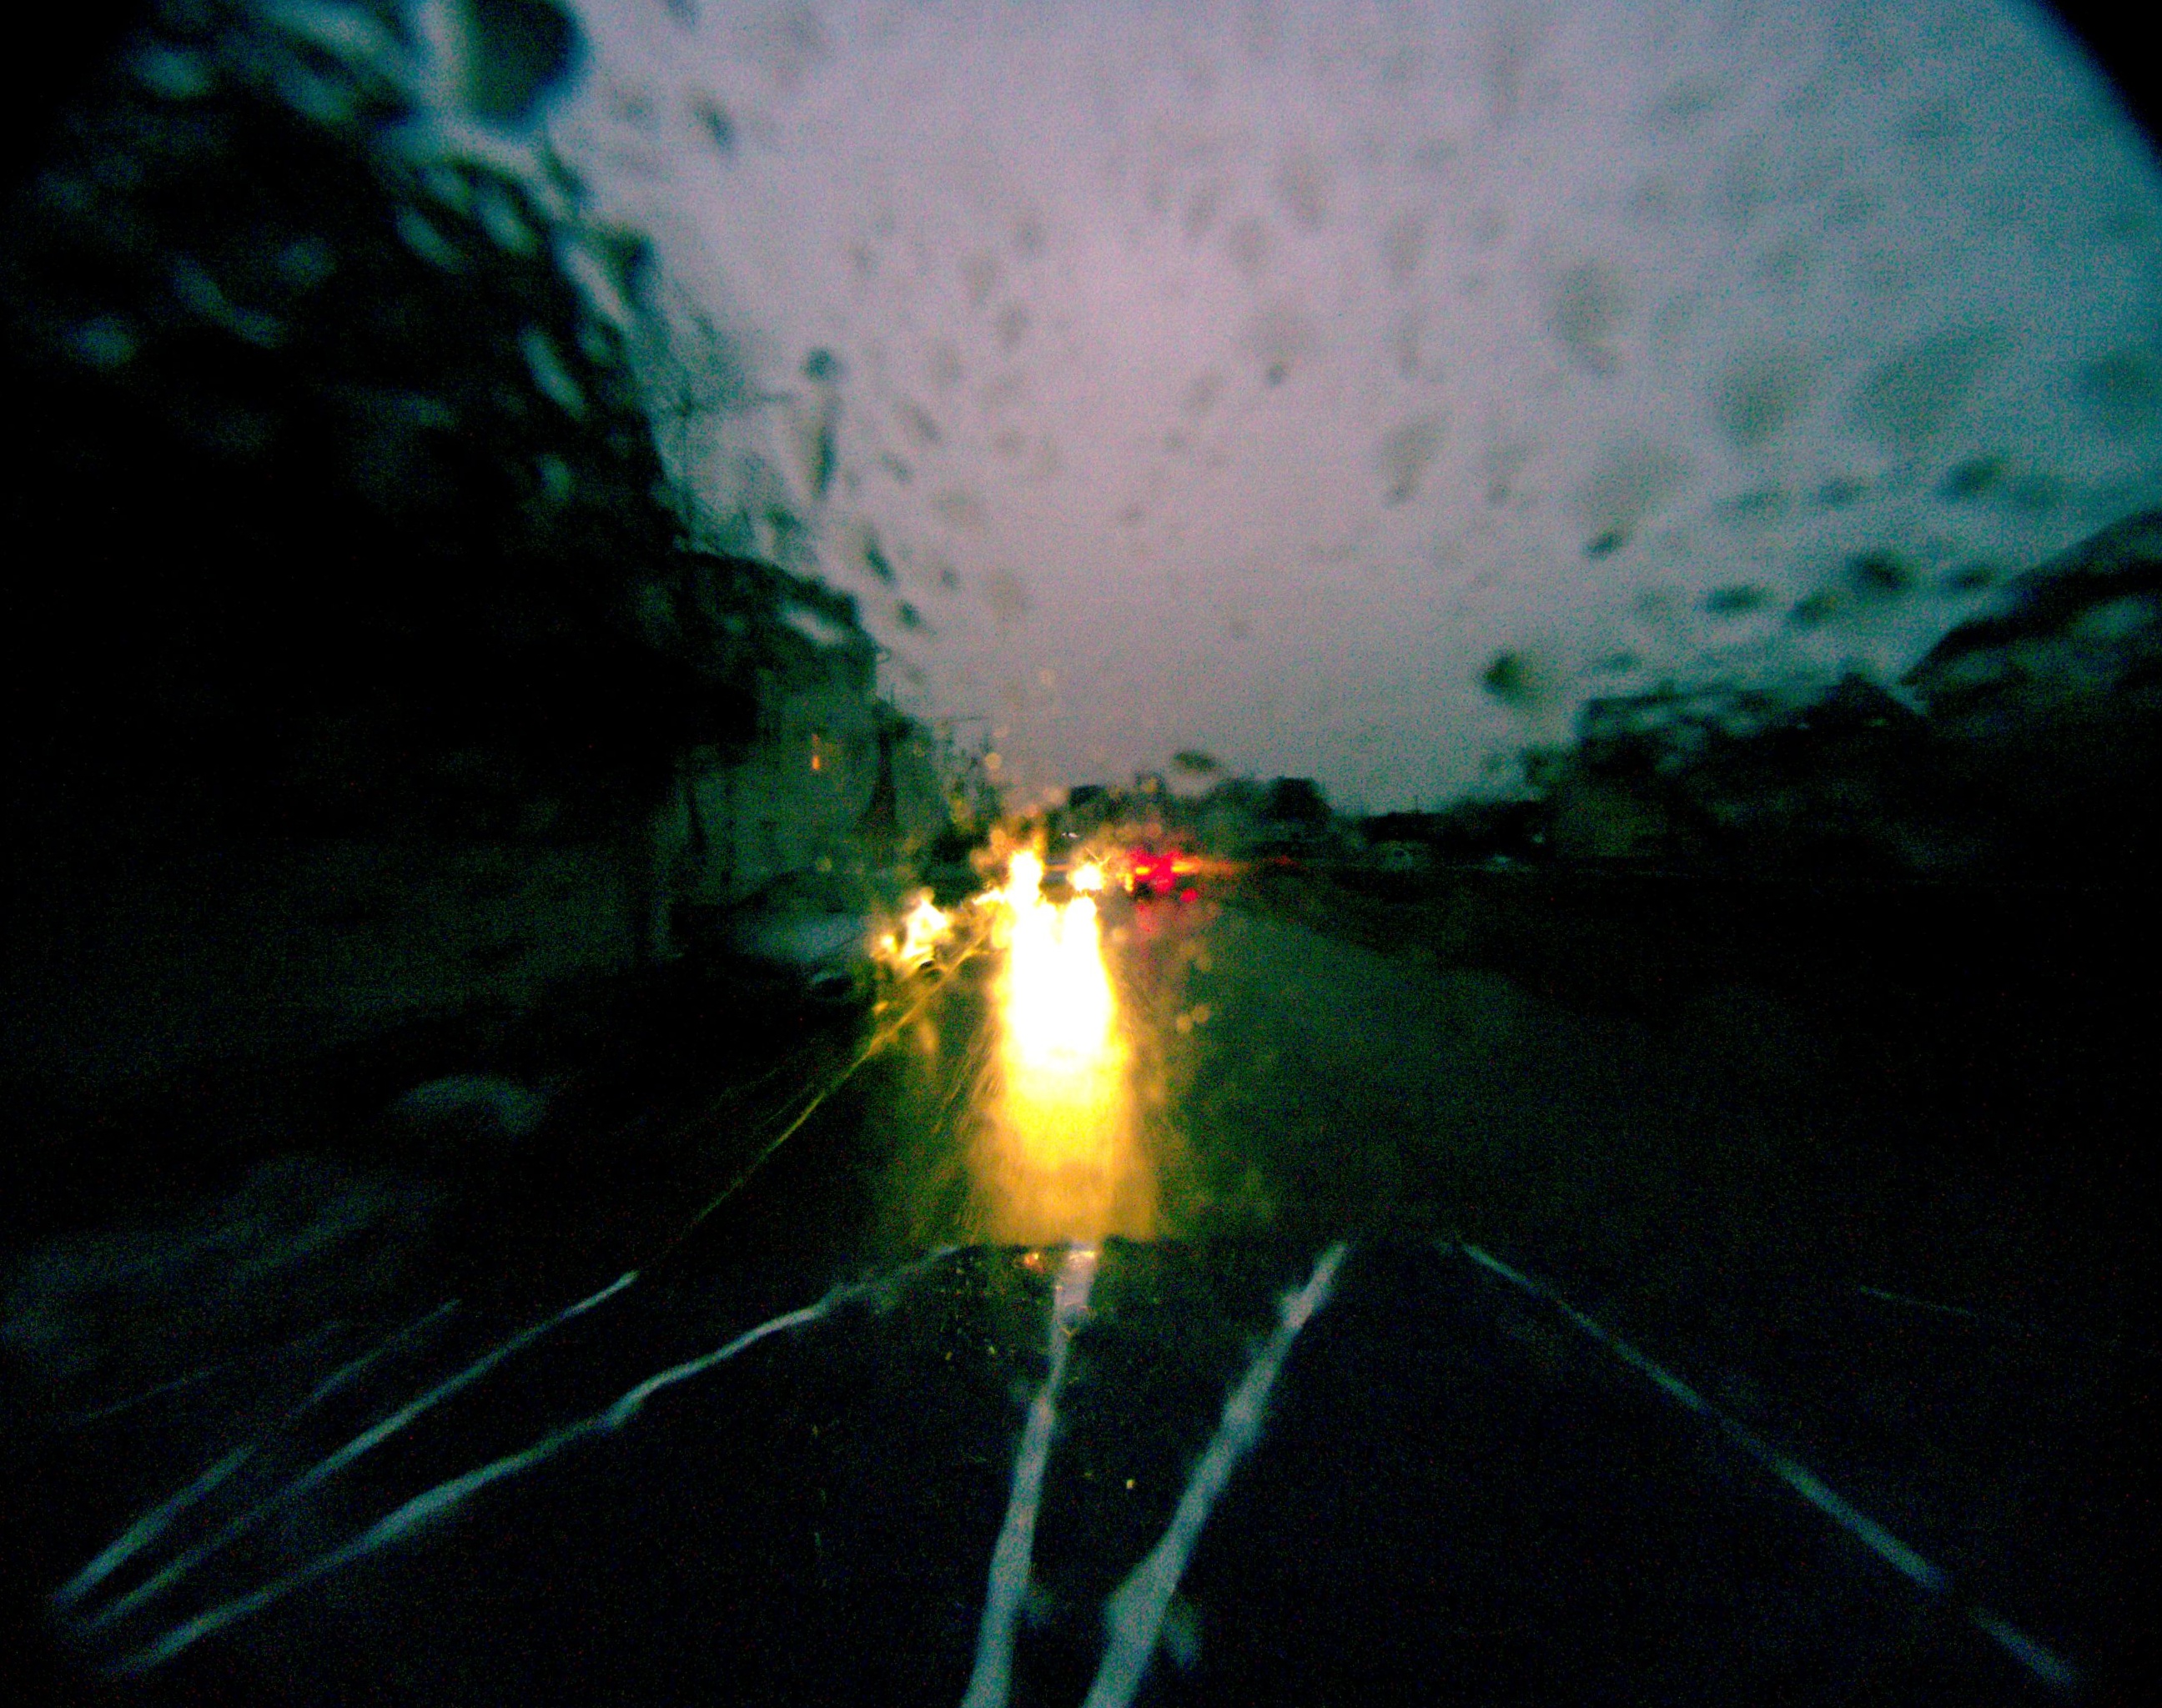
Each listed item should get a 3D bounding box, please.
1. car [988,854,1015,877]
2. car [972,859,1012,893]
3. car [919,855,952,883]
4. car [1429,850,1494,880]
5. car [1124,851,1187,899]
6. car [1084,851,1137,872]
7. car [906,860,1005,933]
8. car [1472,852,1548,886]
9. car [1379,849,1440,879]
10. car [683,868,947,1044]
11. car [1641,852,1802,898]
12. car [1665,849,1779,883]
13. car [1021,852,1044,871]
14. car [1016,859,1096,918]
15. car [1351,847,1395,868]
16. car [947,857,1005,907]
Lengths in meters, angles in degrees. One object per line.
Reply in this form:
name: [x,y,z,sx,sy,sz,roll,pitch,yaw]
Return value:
car: [-5.687,0.796,54.439,1.812,1.555,4.302,0,0,-4]
car: [-4.022,0.944,34.644,1.708,1.443,4.189,0,0,-6]
car: [-8.606,0.844,44.751,1.814,1.543,4.299,0,0,-12]
car: [22.505,0.624,45.134,1.901,1.509,3.999,-3,1,2]
car: [2.581,0.698,27.092,1.736,1.527,3.780,-3,0,-1]
car: [2.609,0.633,68.298,4.347,1.611,1.998,-3,1,-10]
car: [-3.070,0.978,19.621,1.962,1.523,5.007,-3,0,-4]
car: [22.634,0.756,40.258,1.821,1.615,3.985,-3,0,1]
car: [22.726,0.635,52.728,1.999,1.893,4.355,-3,0,-5]
car: [-2.754,0.955,8.939,1.656,1.446,4.237,2,0,-1]
car: [22.138,0.672,26.542,1.881,1.434,4.649,-1,0,3]
car: [32.682,0.614,38.875,4.032,1.515,1.815,-3,0,19]
car: [-4.329,0.641,67.778,1.907,1.630,4.565,0,-1,-4]
car: [-0.844,0.964,22.700,2.000,1.525,3.998,-2,-1,-6]
car: [22.315,0.241,58.151,1.681,1.406,3.832,-3,1,-4]
car: [-3.558,0.887,26.466,1.669,1.566,4.495,0,0,-4]
